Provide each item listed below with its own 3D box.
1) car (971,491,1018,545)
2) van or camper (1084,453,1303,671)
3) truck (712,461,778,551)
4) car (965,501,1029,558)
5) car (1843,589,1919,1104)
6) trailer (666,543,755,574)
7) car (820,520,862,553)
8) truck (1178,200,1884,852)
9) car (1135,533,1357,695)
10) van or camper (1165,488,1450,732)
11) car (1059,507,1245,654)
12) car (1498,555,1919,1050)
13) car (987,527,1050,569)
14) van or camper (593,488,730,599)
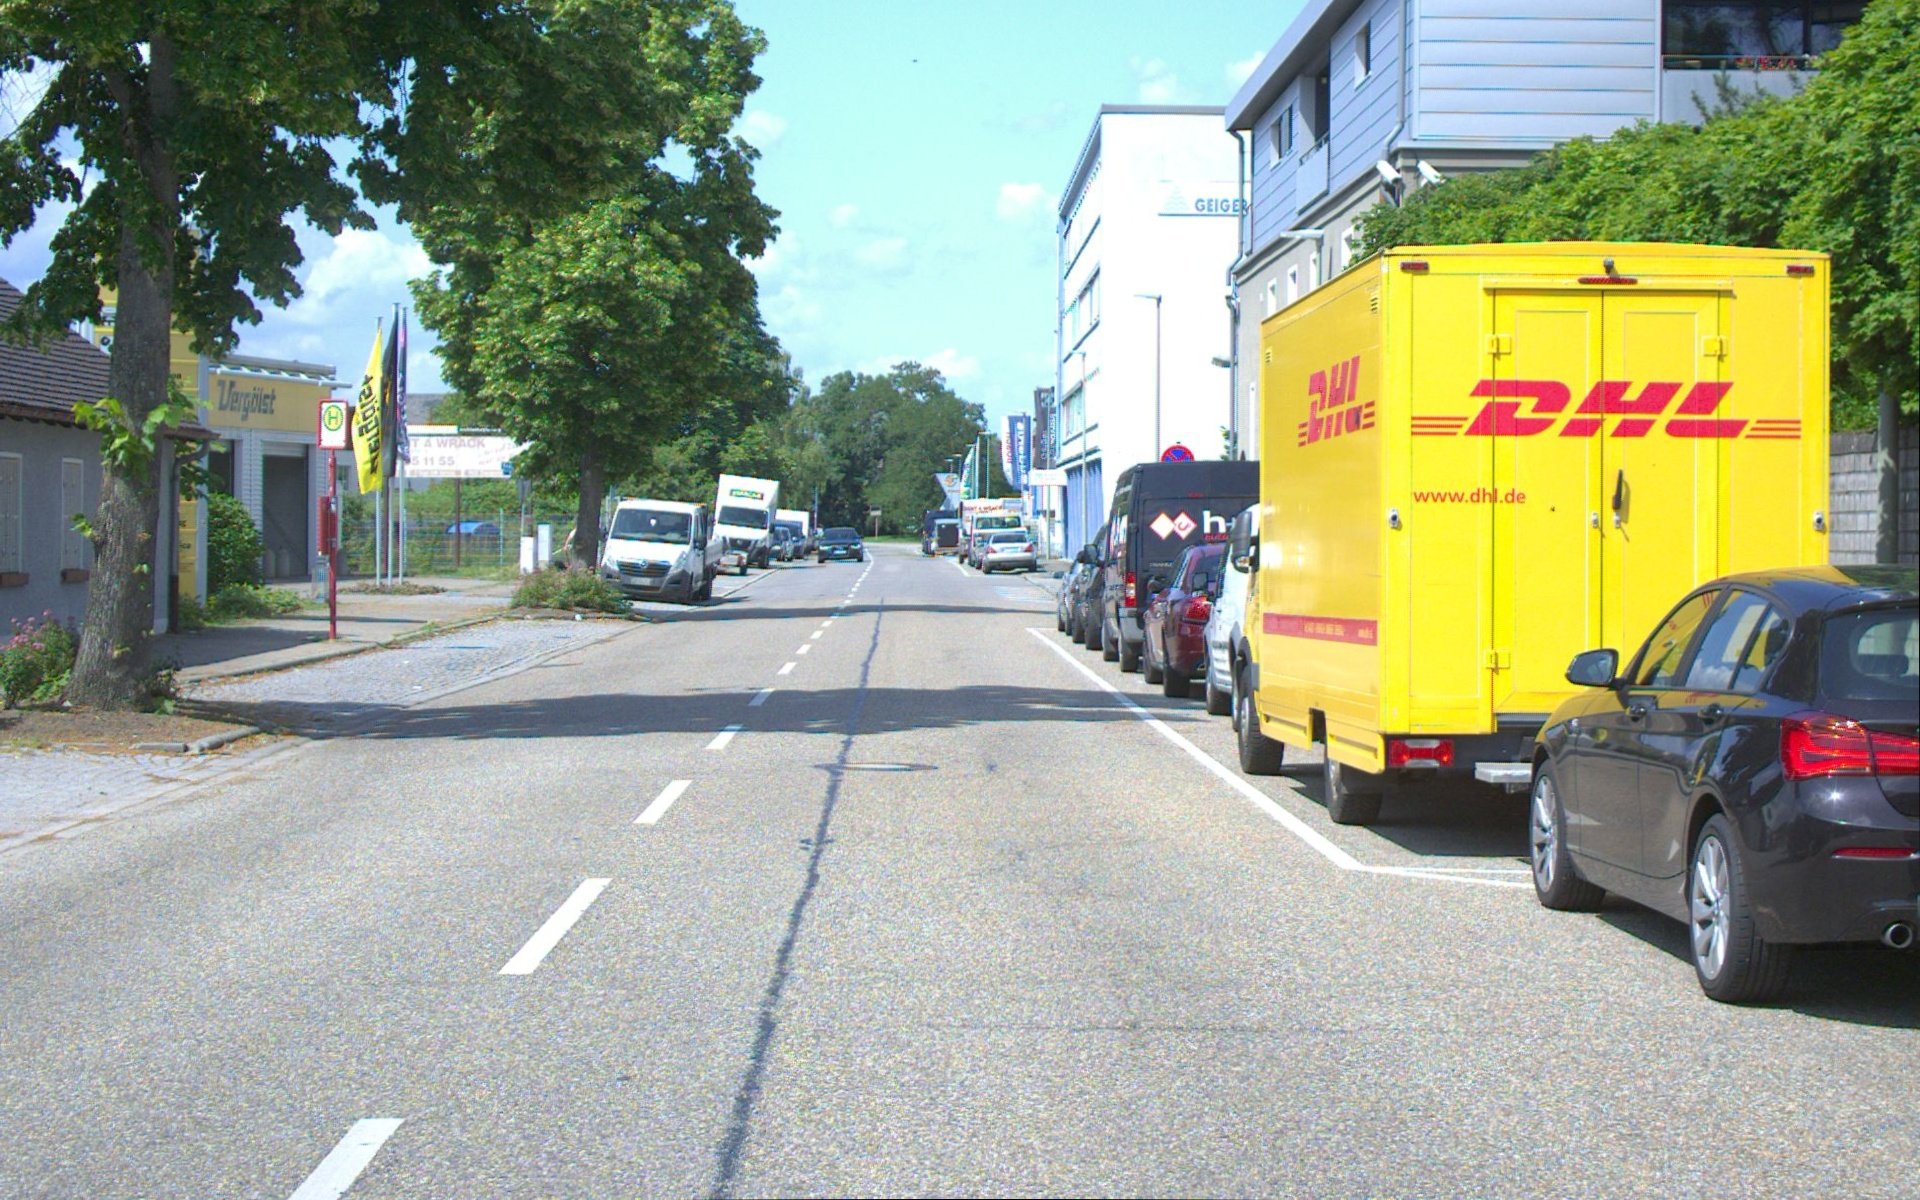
[{"bbox_3d":[1.356,-3.253,136.145,1.707,2.082,4.001,0,2,-1],"label":"car"},{"bbox_3d":[2.618,-0.472,39.835,1.993,2.283,5.448,2,1,-1],"label":"van or camper"},{"bbox_3d":[-7.687,-3.370,123.558,2.029,3.143,6.500,0,2,-1],"label":"truck"},{"bbox_3d":[1.318,-2.582,125.468,2.216,2.007,5.485,0,2,-1],"label":"car"},{"bbox_3d":[3.470,0.739,7.908,1.651,1.382,4.423,2,1,-1],"label":"car"},{"bbox_3d":[-7.928,-1.328,109.747,2.417,0.811,5.537,3,2,0],"label":"trailer"},{"bbox_3d":[-4.933,-2.640,142.918,1.654,1.320,4.417,0,2,-1],"label":"car"},{"bbox_3d":[2.868,-0.424,19.480,2.474,2.930,7.189,2,1,-2],"label":"truck"},{"bbox_3d":[2.743,0.083,33.901,1.681,1.437,4.767,1,1,-1],"label":"car"},{"bbox_3d":[2.782,0.013,28.680,1.759,1.799,5.587,1,1,0],"label":"van or camper"},{"bbox_3d":[2.496,-0.307,45.804,1.960,1.774,4.955,2,1,-2],"label":"car"},{"bbox_3d":[3.213,0.587,12.494,1.662,1.436,4.284,0,1,-2],"label":"car"},{"bbox_3d":[1.895,-1.715,112.117,1.928,1.306,4.000,0,2,-1],"label":"car"},{"bbox_3d":[-6.798,-1.332,79.262,2.174,2.405,7.697,1,2,2],"label":"van or camper"}]
